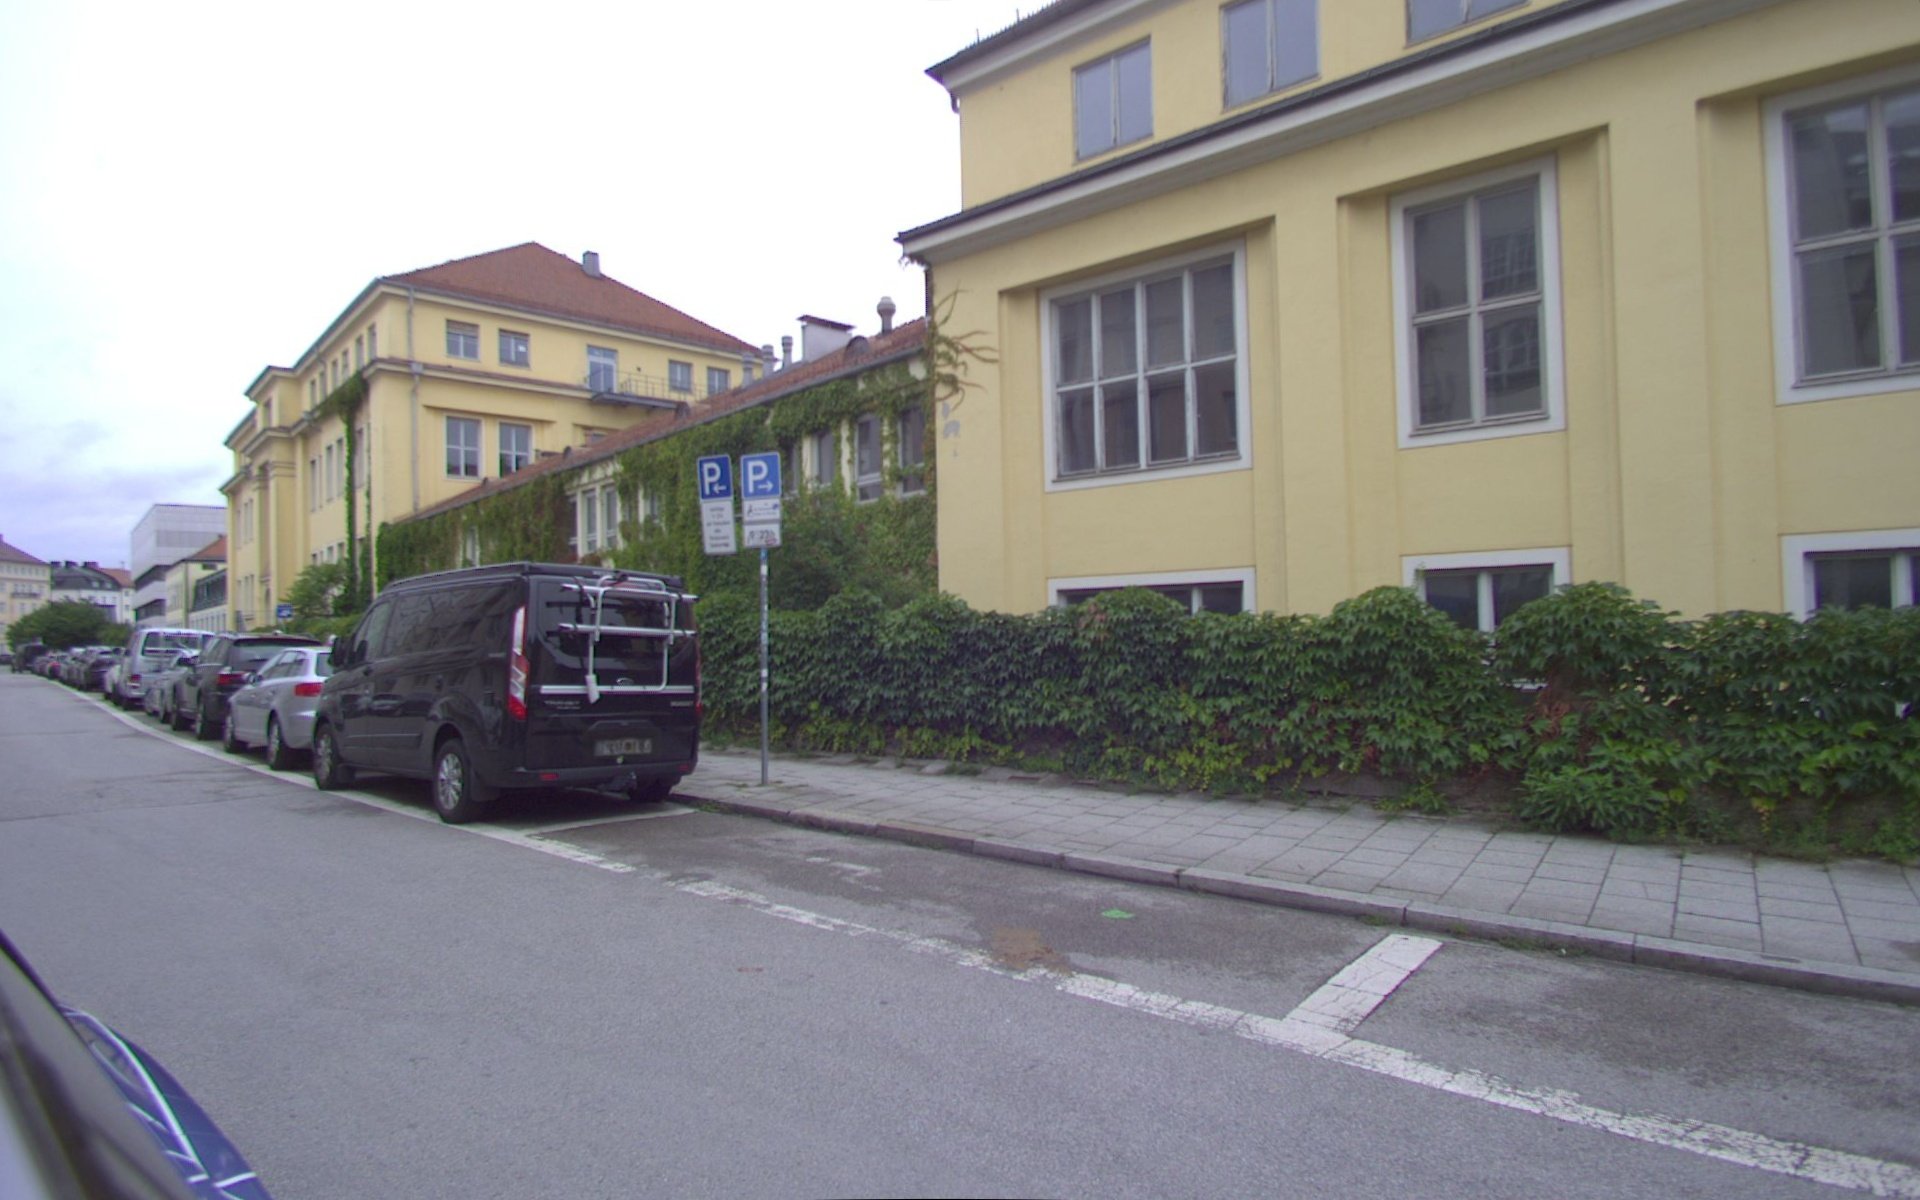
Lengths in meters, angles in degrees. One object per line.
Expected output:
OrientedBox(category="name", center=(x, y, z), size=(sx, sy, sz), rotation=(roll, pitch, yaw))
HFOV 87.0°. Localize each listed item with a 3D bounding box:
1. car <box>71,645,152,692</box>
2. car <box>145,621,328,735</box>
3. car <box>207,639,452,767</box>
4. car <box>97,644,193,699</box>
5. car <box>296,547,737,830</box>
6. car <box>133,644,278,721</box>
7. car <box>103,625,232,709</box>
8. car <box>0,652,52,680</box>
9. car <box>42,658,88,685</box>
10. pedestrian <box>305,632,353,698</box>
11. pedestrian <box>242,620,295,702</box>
OrientedBox(category="car", center=(-29.791, 2.406, 35.495), size=(1.697, 1.492, 4.222), rotation=(7, -7, -44))
OrientedBox(category="car", center=(-11.997, 1.267, 16.666), size=(1.682, 1.619, 4.493), rotation=(5, -6, -44))
OrientedBox(category="car", center=(-8.174, 1.286, 12.972), size=(4.002, 1.376, 1.687), rotation=(-4, -8, 44))
OrientedBox(category="car", center=(-22.707, 1.998, 28.147), size=(1.647, 1.420, 3.561), rotation=(5, -6, -45))
OrientedBox(category="car", center=(-4.270, 0.779, 9.389), size=(4.620, 1.994, 1.905), rotation=(-3, -6, 41))
OrientedBox(category="car", center=(-15.583, 1.666, 20.801), size=(1.782, 1.388, 4.495), rotation=(7, -7, -43))
OrientedBox(category="car", center=(-19.309, 1.649, 24.575), size=(1.871, 1.812, 4.884), rotation=(7, -7, -43))
OrientedBox(category="car", center=(-88.506, 6.265, 95.855), size=(6.888, 2.571, 2.810), rotation=(-3, -4, 40))
OrientedBox(category="car", center=(-49.906, 3.968, 56.429), size=(1.713, 1.450, 3.782), rotation=(5, -6, -43))
OrientedBox(category="pedestrian", center=(-15.031, 1.536, 24.114), size=(0.833, 1.506, 0.873), rotation=(1, -3, -43))
OrientedBox(category="pedestrian", center=(-15.420, 1.352, 22.570), size=(0.833, 1.768, 0.873), rotation=(1, -3, -43))
